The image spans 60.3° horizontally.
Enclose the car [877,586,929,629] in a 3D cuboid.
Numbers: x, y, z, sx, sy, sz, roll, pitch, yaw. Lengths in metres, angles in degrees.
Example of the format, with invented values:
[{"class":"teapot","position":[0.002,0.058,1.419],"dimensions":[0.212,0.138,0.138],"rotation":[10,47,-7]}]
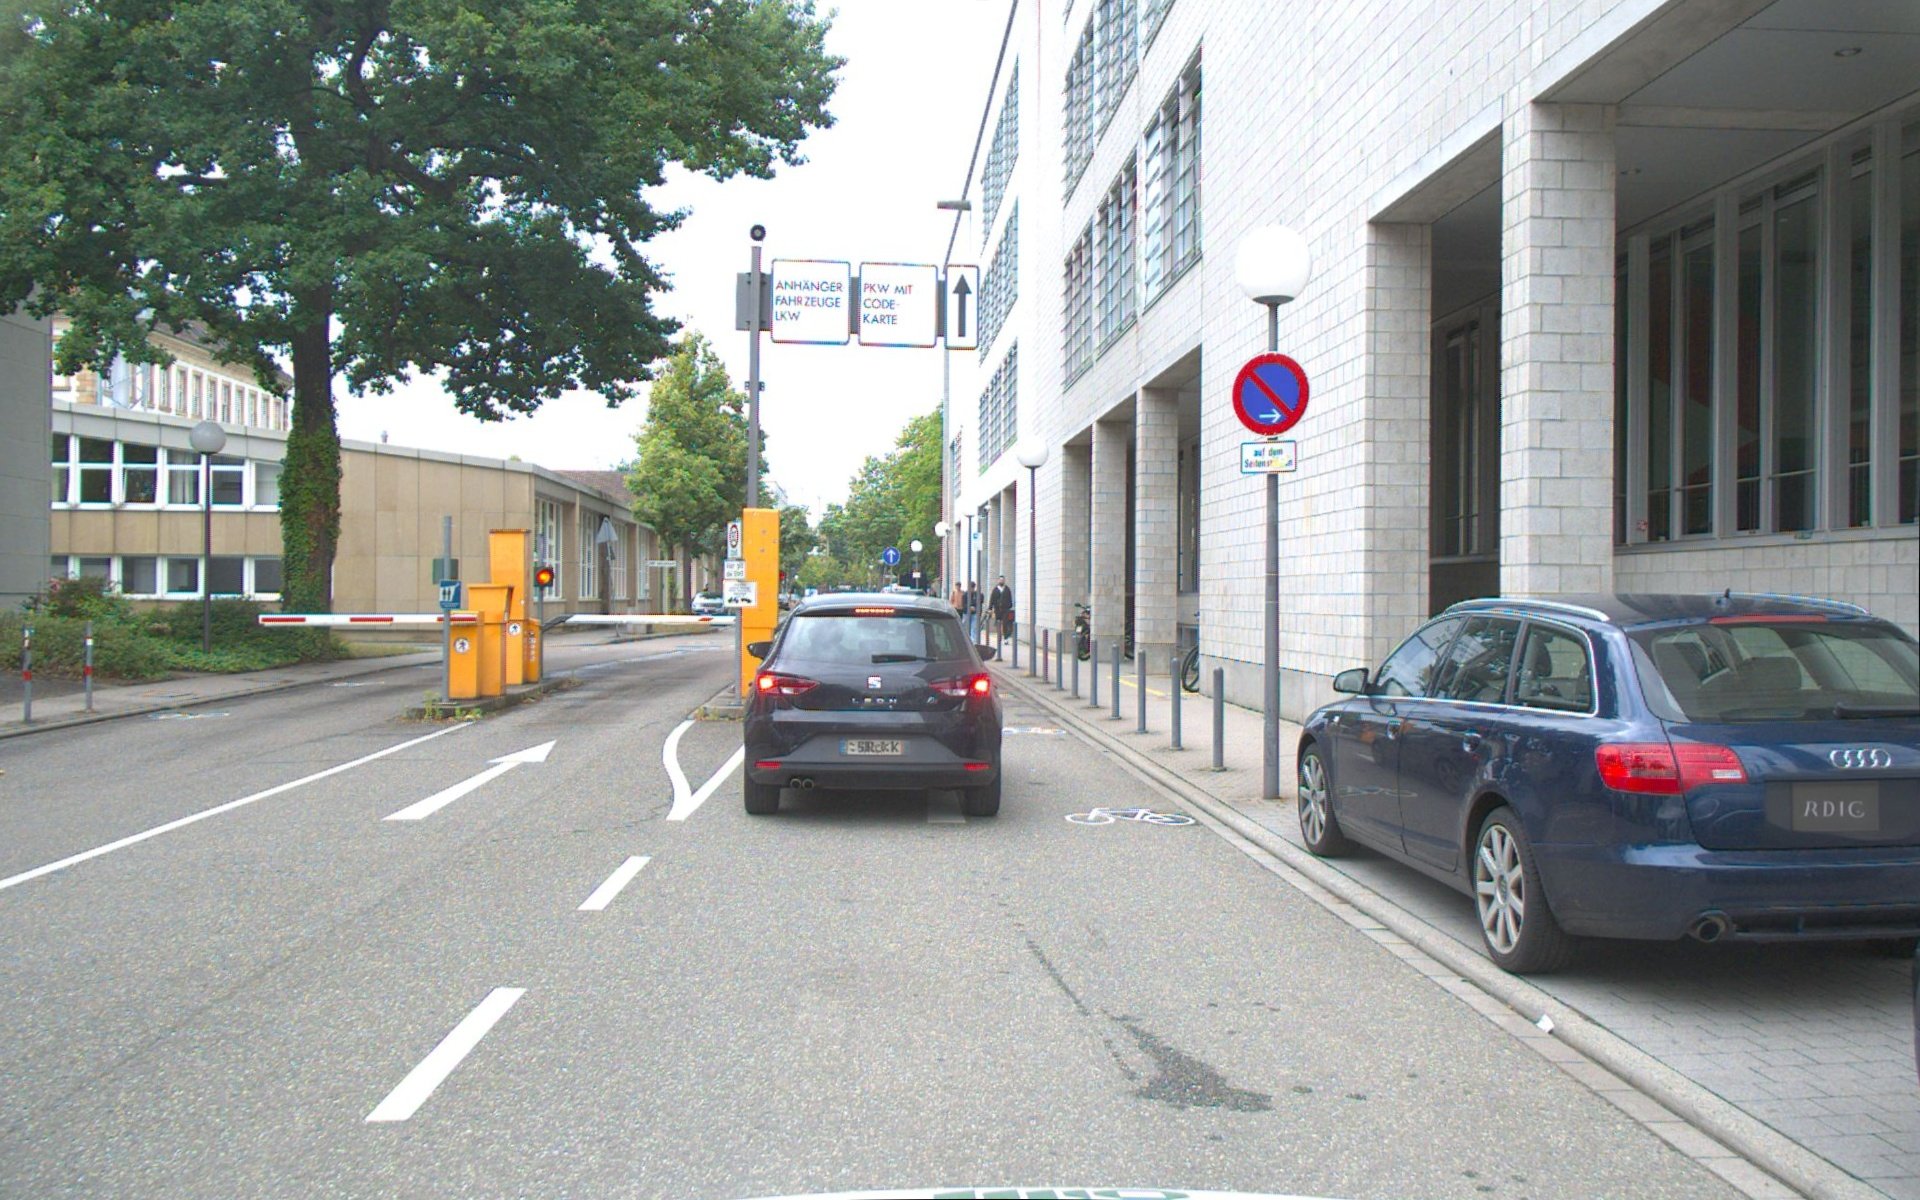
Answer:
[{"class":"car","position":[-2.339,0.279,67.031],"dimensions":[1.954,1.651,4.425],"rotation":[-1,0,-4]}]

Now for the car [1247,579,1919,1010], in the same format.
[{"class":"car","position":[2.961,0.671,8.207],"dimensions":[1.954,1.477,4.919],"rotation":[0,0,-4]}]

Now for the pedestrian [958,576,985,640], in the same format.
[{"class":"pedestrian","position":[0.310,0.220,45.358],"dimensions":[0.676,1.728,0.588],"rotation":[1,2,-4]}]

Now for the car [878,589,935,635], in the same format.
[{"class":"car","position":[-2.060,0.452,62.513],"dimensions":[1.954,1.651,4.424],"rotation":[-1,0,-4]}]

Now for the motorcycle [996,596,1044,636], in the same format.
[{"class":"motorcycle","position":[1.971,0.519,53.905],"dimensions":[0.744,1.168,2.663],"rotation":[2,3,20]}]

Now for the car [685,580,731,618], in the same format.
[{"class":"car","position":[-11.222,-0.053,73.907],"dimensions":[1.735,1.629,3.996],"rotation":[1,0,-5]}]

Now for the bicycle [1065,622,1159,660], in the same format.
[{"class":"bicycle","position":[3.145,0.847,34.187],"dimensions":[1.861,0.711,0.492],"rotation":[1,2,-8]}]

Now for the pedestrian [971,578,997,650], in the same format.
[{"class":"pedestrian","position":[0.580,0.349,40.601],"dimensions":[0.599,1.744,0.574],"rotation":[-1,0,-1]}]

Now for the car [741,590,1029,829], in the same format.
[{"class":"car","position":[-0.601,0.668,12.224],"dimensions":[1.747,1.444,4.126],"rotation":[1,0,-4]}]

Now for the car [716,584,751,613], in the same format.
[{"class":"car","position":[-13.193,-0.083,96.600],"dimensions":[1.735,1.629,3.997],"rotation":[1,0,-4]}]

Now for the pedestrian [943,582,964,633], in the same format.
[{"class":"pedestrian","position":[-0.215,0.249,56.477],"dimensions":[0.682,1.744,0.489],"rotation":[1,0,0]}]

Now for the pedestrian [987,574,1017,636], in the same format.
[{"class":"pedestrian","position":[1.176,0.134,46.653],"dimensions":[0.714,1.728,0.587],"rotation":[1,2,-9]}]

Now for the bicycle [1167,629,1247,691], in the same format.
[{"class":"bicycle","position":[3.619,0.862,24.095],"dimensions":[0.453,0.764,2.293],"rotation":[-4,-1,26]}]

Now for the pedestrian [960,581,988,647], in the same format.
[{"class":"pedestrian","position":[0.374,0.379,44.034],"dimensions":[0.682,1.744,0.489],"rotation":[1,0,-3]}]

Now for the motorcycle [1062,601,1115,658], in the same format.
[{"class":"motorcycle","position":[2.912,0.643,37.290],"dimensions":[0.554,1.168,2.217],"rotation":[2,3,20]}]

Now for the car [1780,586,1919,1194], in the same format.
[{"class":"car","position":[3.338,0.698,2.386],"dimensions":[1.782,1.468,4.516],"rotation":[-1,0,-5]}]

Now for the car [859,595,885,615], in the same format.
[{"class":"car","position":[-6.941,0.391,129.937],"dimensions":[1.954,1.489,4.424],"rotation":[-1,0,-4]}]
